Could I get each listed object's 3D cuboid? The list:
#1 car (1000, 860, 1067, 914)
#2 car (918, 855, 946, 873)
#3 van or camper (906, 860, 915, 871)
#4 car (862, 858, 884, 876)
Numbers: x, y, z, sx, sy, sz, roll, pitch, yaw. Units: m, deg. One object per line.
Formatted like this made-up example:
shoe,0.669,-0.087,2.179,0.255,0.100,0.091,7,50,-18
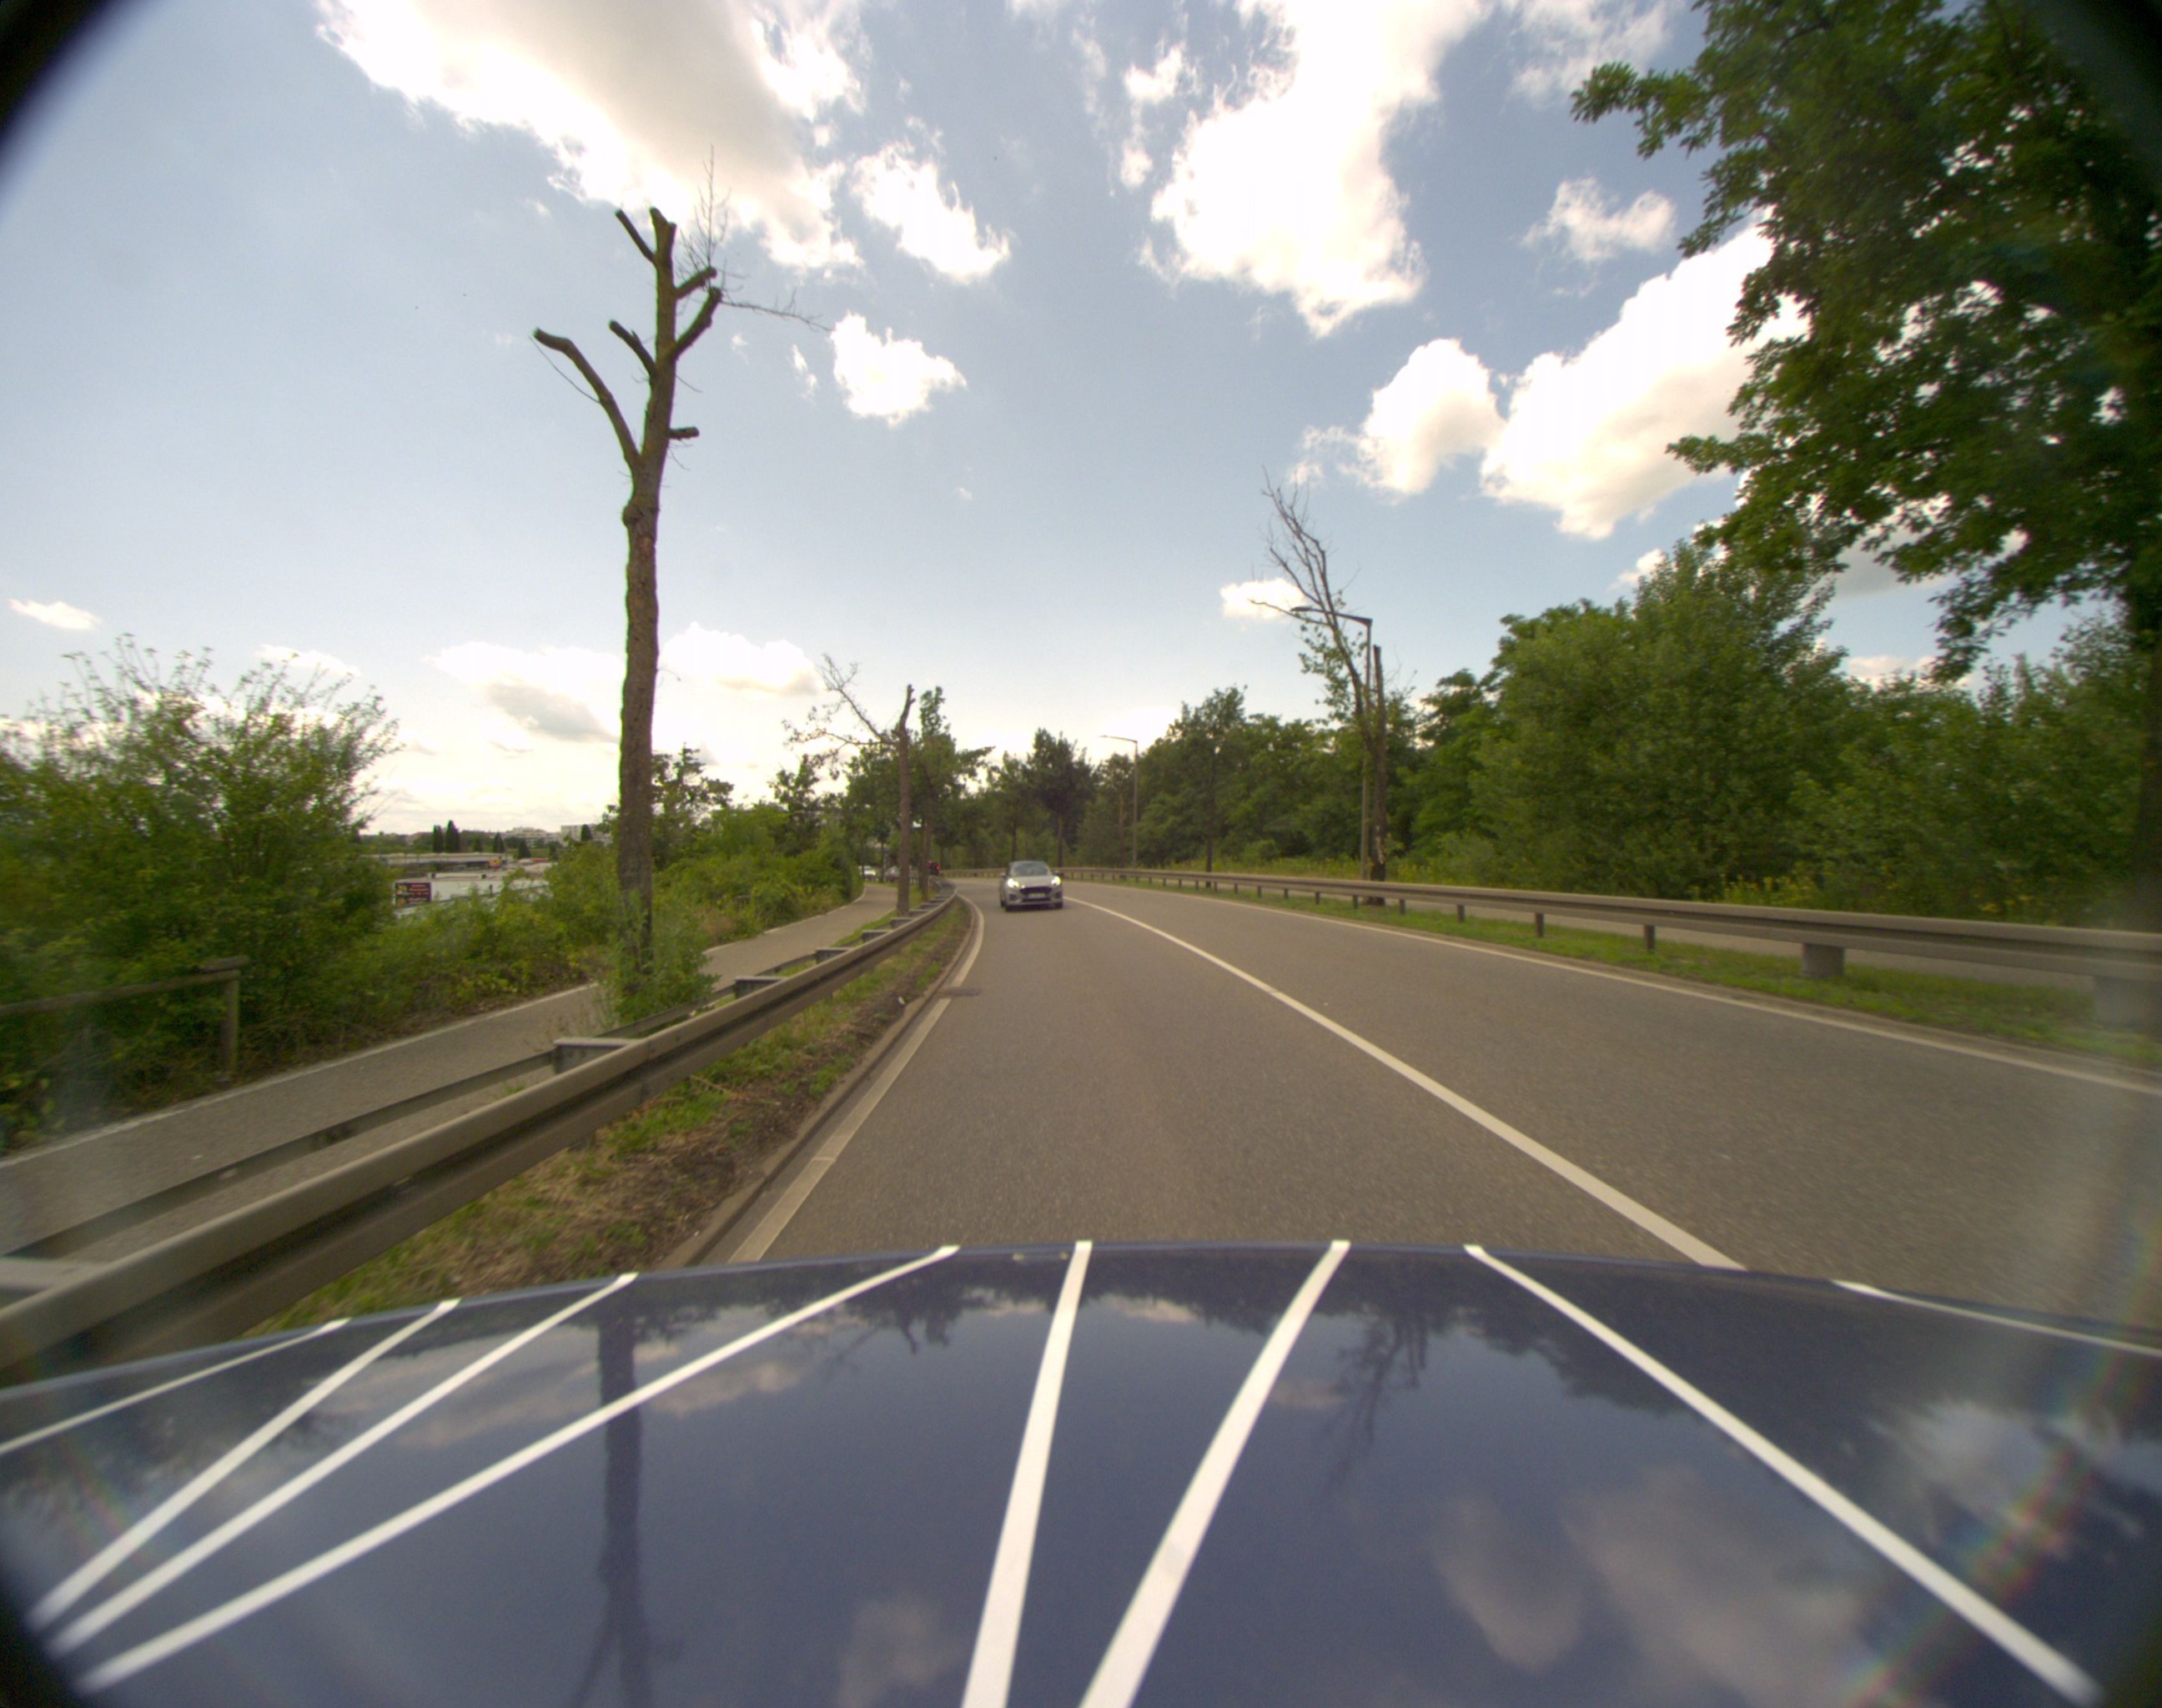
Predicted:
car,-1.629,1.002,24.891,1.829,1.516,3.997,-3,0,-8
car,-15.107,1.010,76.854,1.860,1.699,4.303,-3,1,-22
van or camper,-44.185,3.001,196.982,2.001,2.565,5.977,5,-3,-11
car,-24.657,1.562,90.087,2.002,2.001,3.993,0,-1,-22
